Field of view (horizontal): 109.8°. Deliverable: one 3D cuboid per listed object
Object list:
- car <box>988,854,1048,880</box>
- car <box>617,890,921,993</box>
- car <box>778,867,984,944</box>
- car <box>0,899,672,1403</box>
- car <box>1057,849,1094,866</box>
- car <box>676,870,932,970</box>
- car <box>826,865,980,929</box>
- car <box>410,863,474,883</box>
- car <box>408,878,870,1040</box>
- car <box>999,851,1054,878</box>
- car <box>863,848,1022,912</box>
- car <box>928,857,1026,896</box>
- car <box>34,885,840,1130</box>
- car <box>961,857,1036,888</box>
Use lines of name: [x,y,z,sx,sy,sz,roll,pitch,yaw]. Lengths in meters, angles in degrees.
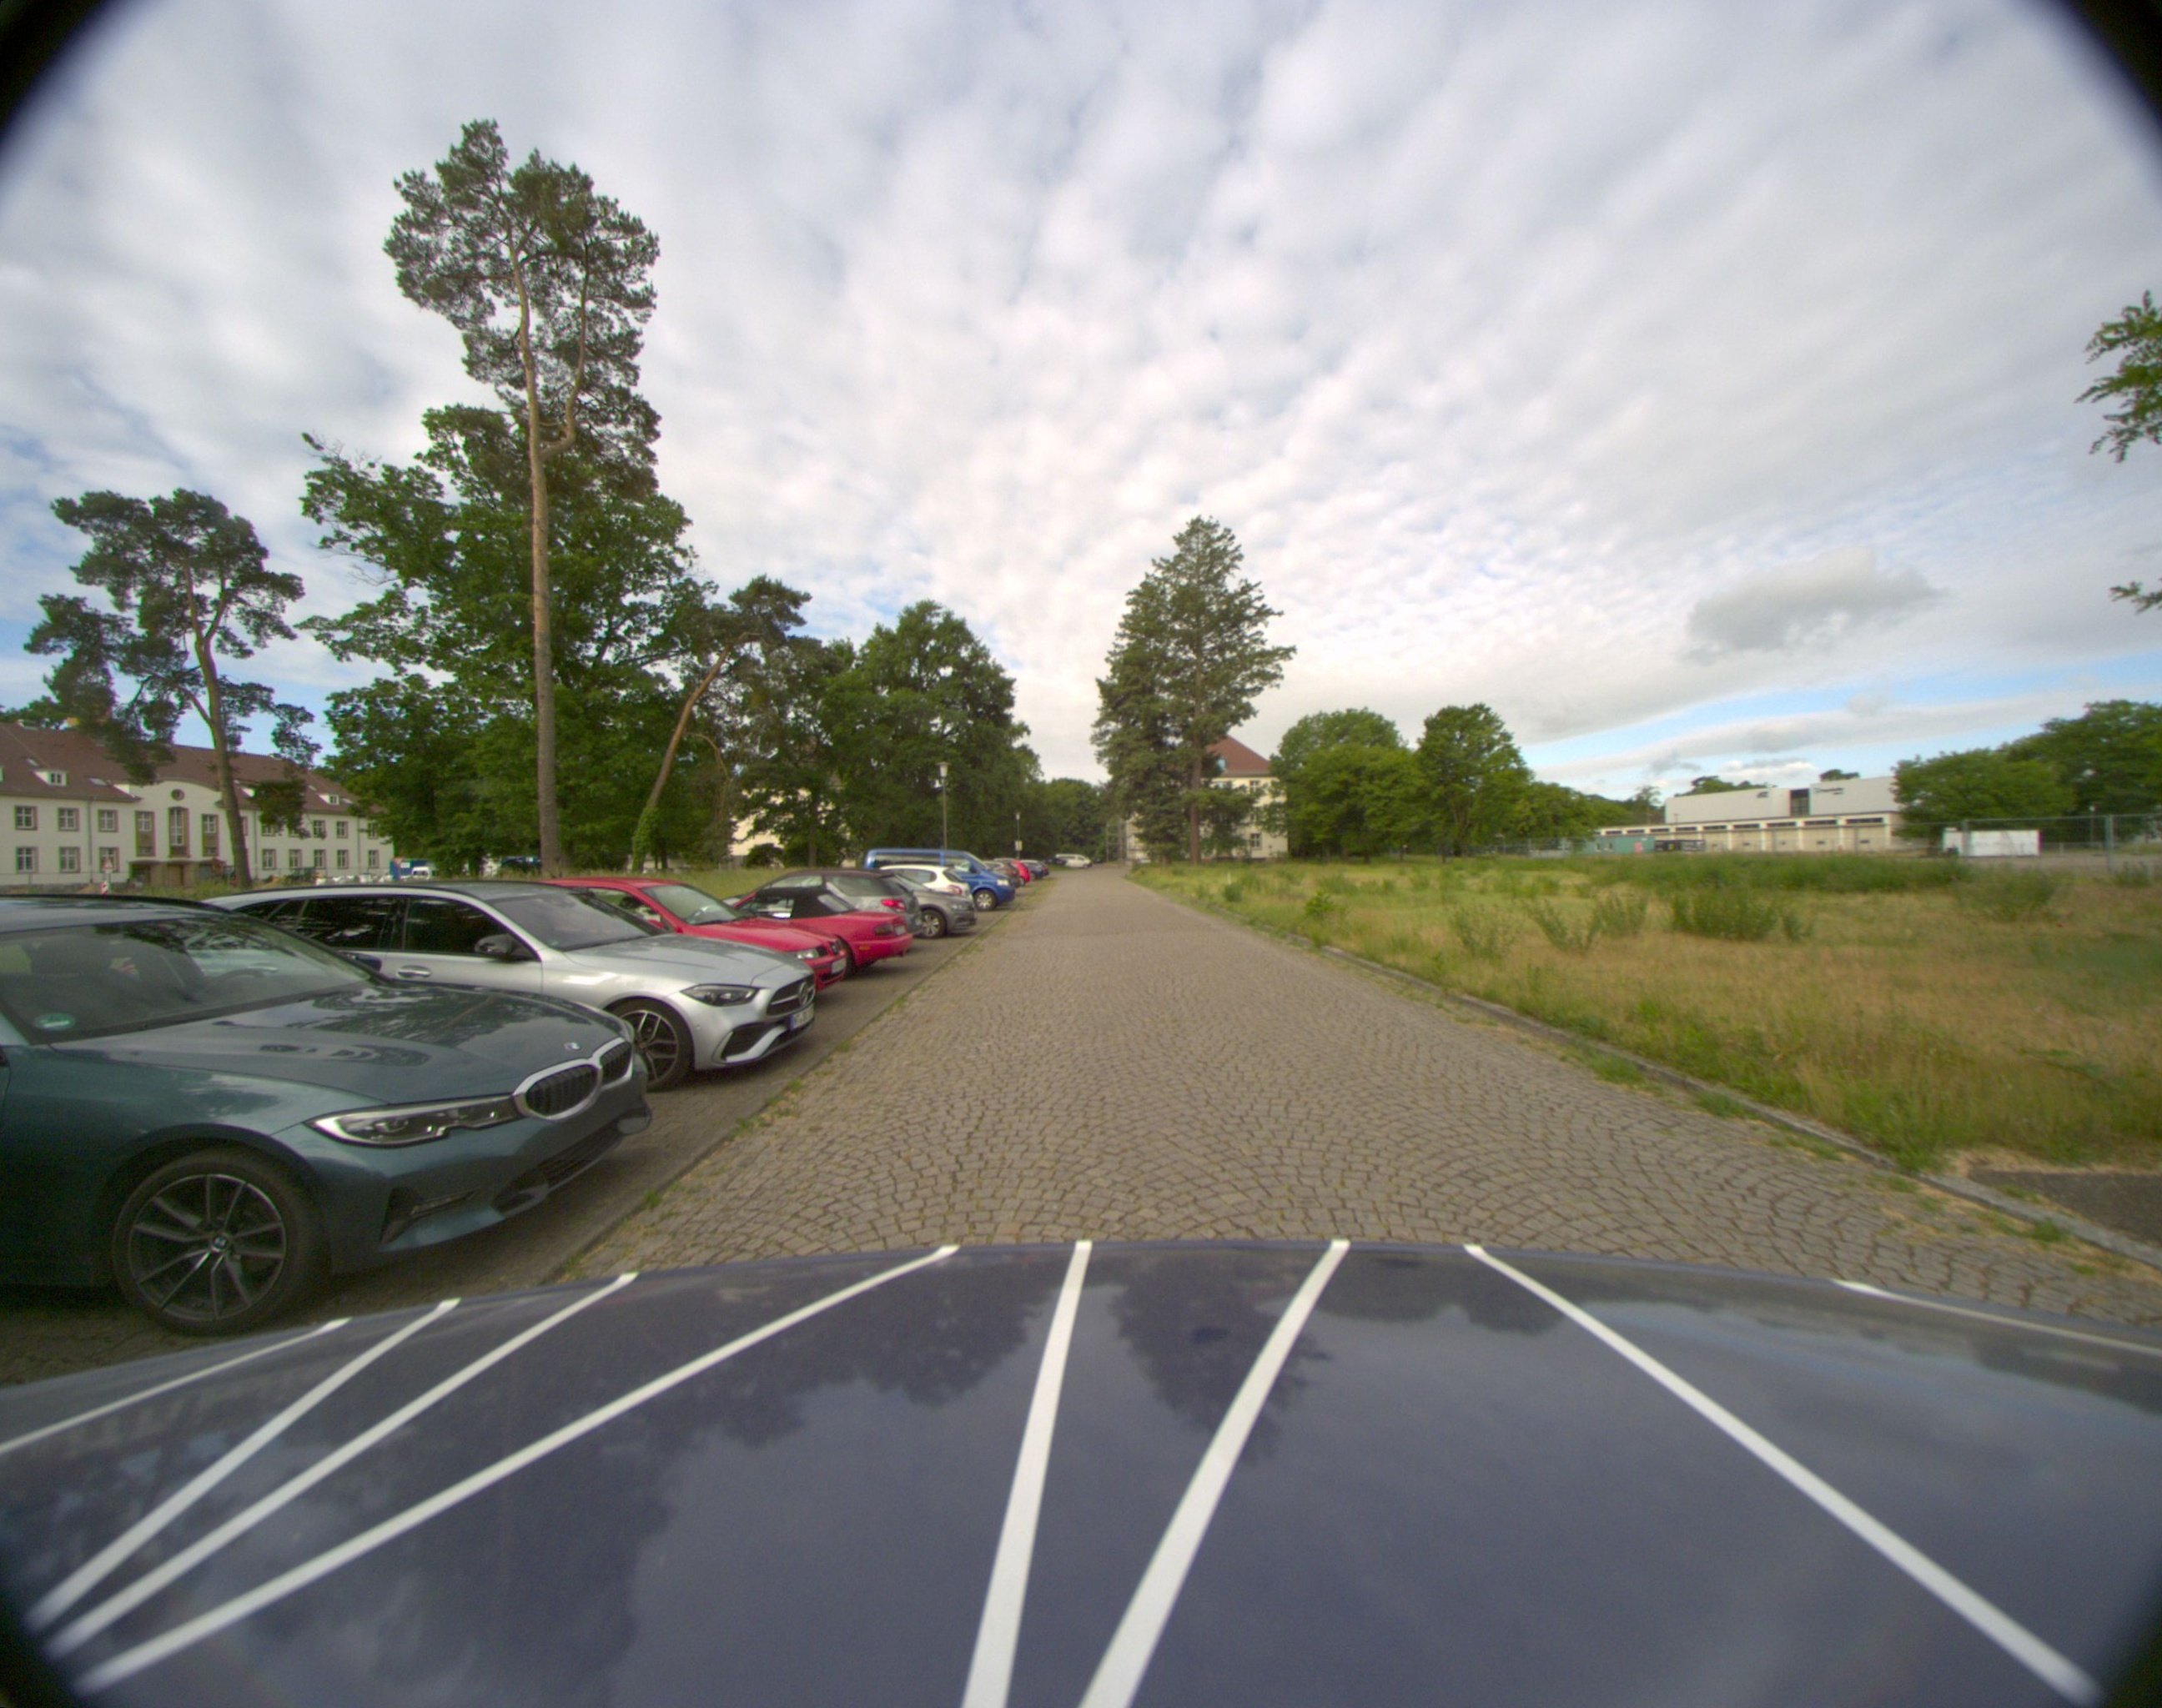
car: [-4.426,0.888,53.968,4.007,1.752,2.000,-1,0,1]
car: [-4.215,1.176,10.608,3.600,1.200,1.495,-1,0,1]
car: [-4.152,1.050,16.198,3.848,1.448,1.820,-1,0,3]
car: [-4.640,1.035,3.229,4.770,1.474,1.761,-1,0,-3]
car: [-0.729,0.505,107.229,5.031,2.164,2.000,-1,0,2]
car: [-4.692,1.092,13.311,3.787,1.497,1.799,-1,0,-2]
car: [-4.372,1.050,19.023,3.408,1.443,1.637,-1,0,1]
car: [-68.044,1.983,81.063,2.153,2.002,5.225,-1,0,3]
car: [-4.579,1.060,8.337,3.972,1.443,1.800,-1,0,0]
car: [-4.168,0.779,58.364,3.996,2.002,2.000,-1,0,1]
car: [-4.346,0.803,24.446,4.749,1.928,2.000,0,0,0]
car: [-4.506,0.961,33.388,3.997,1.601,2.000,-1,0,0]
car: [-4.597,1.066,5.989,4.769,1.474,1.812,-1,0,0]
car: [-4.694,1.044,43.720,3.997,1.521,2.000,-3,0,0]
